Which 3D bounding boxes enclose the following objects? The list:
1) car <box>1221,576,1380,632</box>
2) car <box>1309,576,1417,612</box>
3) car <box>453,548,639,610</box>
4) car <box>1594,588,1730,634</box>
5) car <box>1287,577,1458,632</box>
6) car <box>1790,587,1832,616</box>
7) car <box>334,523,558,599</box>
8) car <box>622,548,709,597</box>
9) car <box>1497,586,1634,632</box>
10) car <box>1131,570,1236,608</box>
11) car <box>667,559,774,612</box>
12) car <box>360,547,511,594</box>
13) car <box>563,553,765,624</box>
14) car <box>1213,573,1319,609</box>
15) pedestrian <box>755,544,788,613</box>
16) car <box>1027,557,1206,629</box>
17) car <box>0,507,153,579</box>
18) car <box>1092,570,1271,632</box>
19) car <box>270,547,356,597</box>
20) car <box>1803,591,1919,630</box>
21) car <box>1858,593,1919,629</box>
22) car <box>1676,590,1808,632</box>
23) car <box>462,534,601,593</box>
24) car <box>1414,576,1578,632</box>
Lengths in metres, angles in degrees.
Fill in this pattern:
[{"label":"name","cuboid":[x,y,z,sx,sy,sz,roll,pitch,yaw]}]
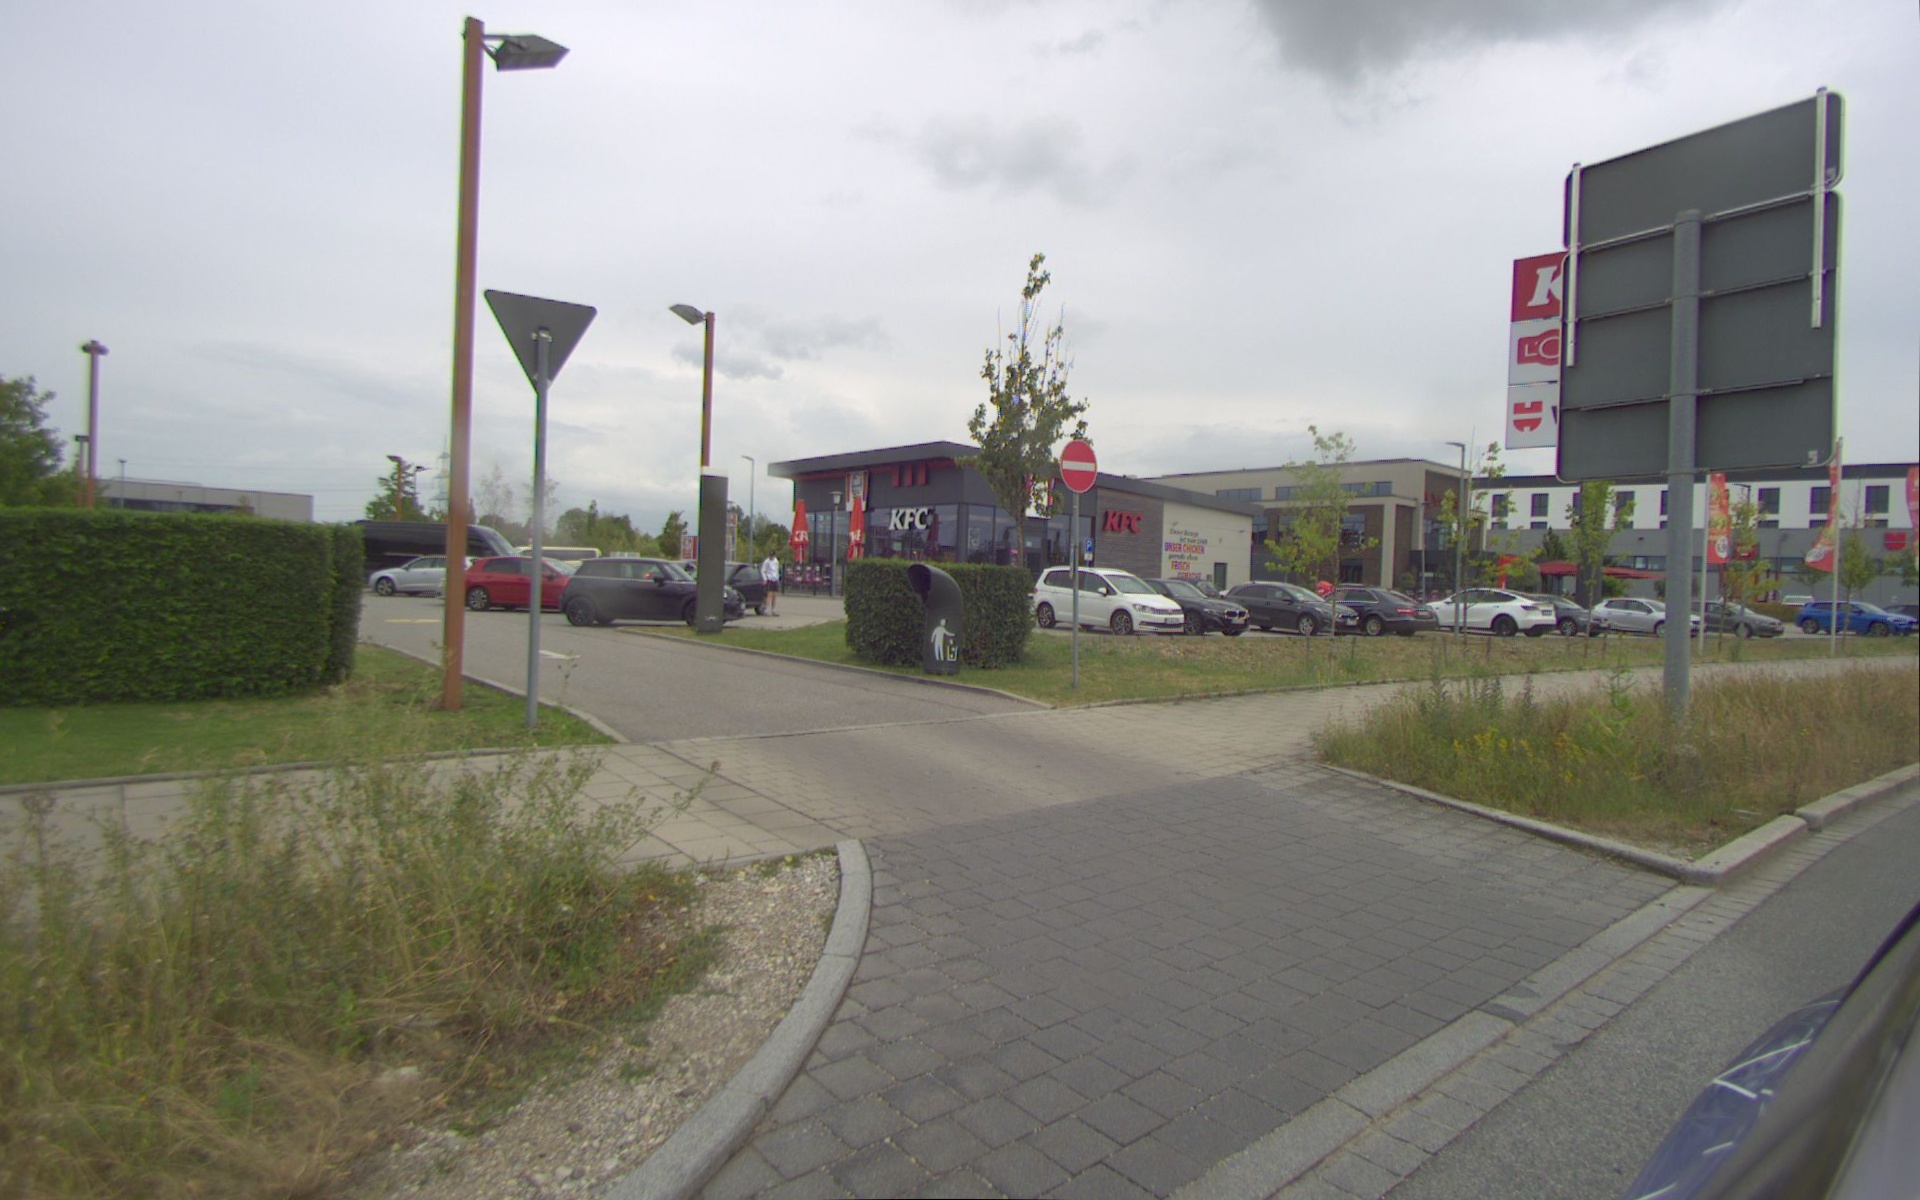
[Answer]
[{"label":"car","cuboid":[10.021,0.087,30.015,1.906,1.456,4.098,1,2,-35]},{"label":"car","cuboid":[20.041,-0.317,50.468,1.942,1.537,4.572,0,3,-40]},{"label":"car","cuboid":[-10.874,-0.552,26.738,4.081,1.447,2.004,2,1,5]},{"label":"car","cuboid":[27.179,0.392,39.297,1.862,1.499,3.883,1,3,-24]},{"label":"car","cuboid":[12.647,0.114,31.286,1.993,1.487,4.535,1,1,-34]},{"label":"car","cuboid":[55.440,0.091,65.899,1.992,1.718,4.720,2,1,41]},{"label":"car","cuboid":[-19.040,-1.444,37.698,7.191,2.533,2.281,2,1,1]},{"label":"car","cuboid":[-11.276,-1.102,39.060,1.969,1.723,4.378,2,3,1]},{"label":"car","cuboid":[22.560,0.286,37.876,1.900,1.503,4.008,0,2,-25]},{"label":"car","cuboid":[10.262,-0.531,46.728,2.011,1.537,4.374,0,3,-40]},{"label":"car","cuboid":[-6.362,-0.381,27.178,1.504,1.326,3.075,1,1,16]},{"label":"car","cuboid":[-17.833,-0.993,34.548,4.140,1.461,1.956,2,1,2]},{"label":"car","cuboid":[-6.206,-0.248,21.558,3.775,1.329,1.818,2,1,-2]},{"label":"car","cuboid":[14.880,-0.481,49.372,2.043,1.537,4.574,1,2,-38]},{"label":"pedestrian","cuboid":[-5.122,-0.581,27.519,0.467,1.828,0.793,2,1,27]},{"label":"car","cuboid":[3.918,-0.223,25.965,1.903,1.660,4.358,1,1,-39]},{"label":"car","cuboid":[-35.388,-2.165,39.639,2.243,2.560,6.034,2,1,8]},{"label":"car","cuboid":[5.899,-0.015,27.444,2.035,1.454,4.481,1,1,-37]},{"label":"car","cuboid":[-20.350,-0.890,31.756,1.920,1.461,4.217,0,2,-38]},{"label":"car","cuboid":[40.379,0.444,44.800,1.924,1.539,4.286,1,1,-20]},{"label":"car","cuboid":[42.974,0.516,45.049,1.940,1.512,4.009,1,1,-17]},{"label":"car","cuboid":[31.585,0.420,40.973,1.850,1.512,3.779,1,1,-22]},{"label":"car","cuboid":[-19.278,-1.616,45.590,5.574,2.380,2.540,1,1,-27]},{"label":"car","cuboid":[18.453,0.090,35.050,2.046,1.665,4.584,1,3,-29]}]
